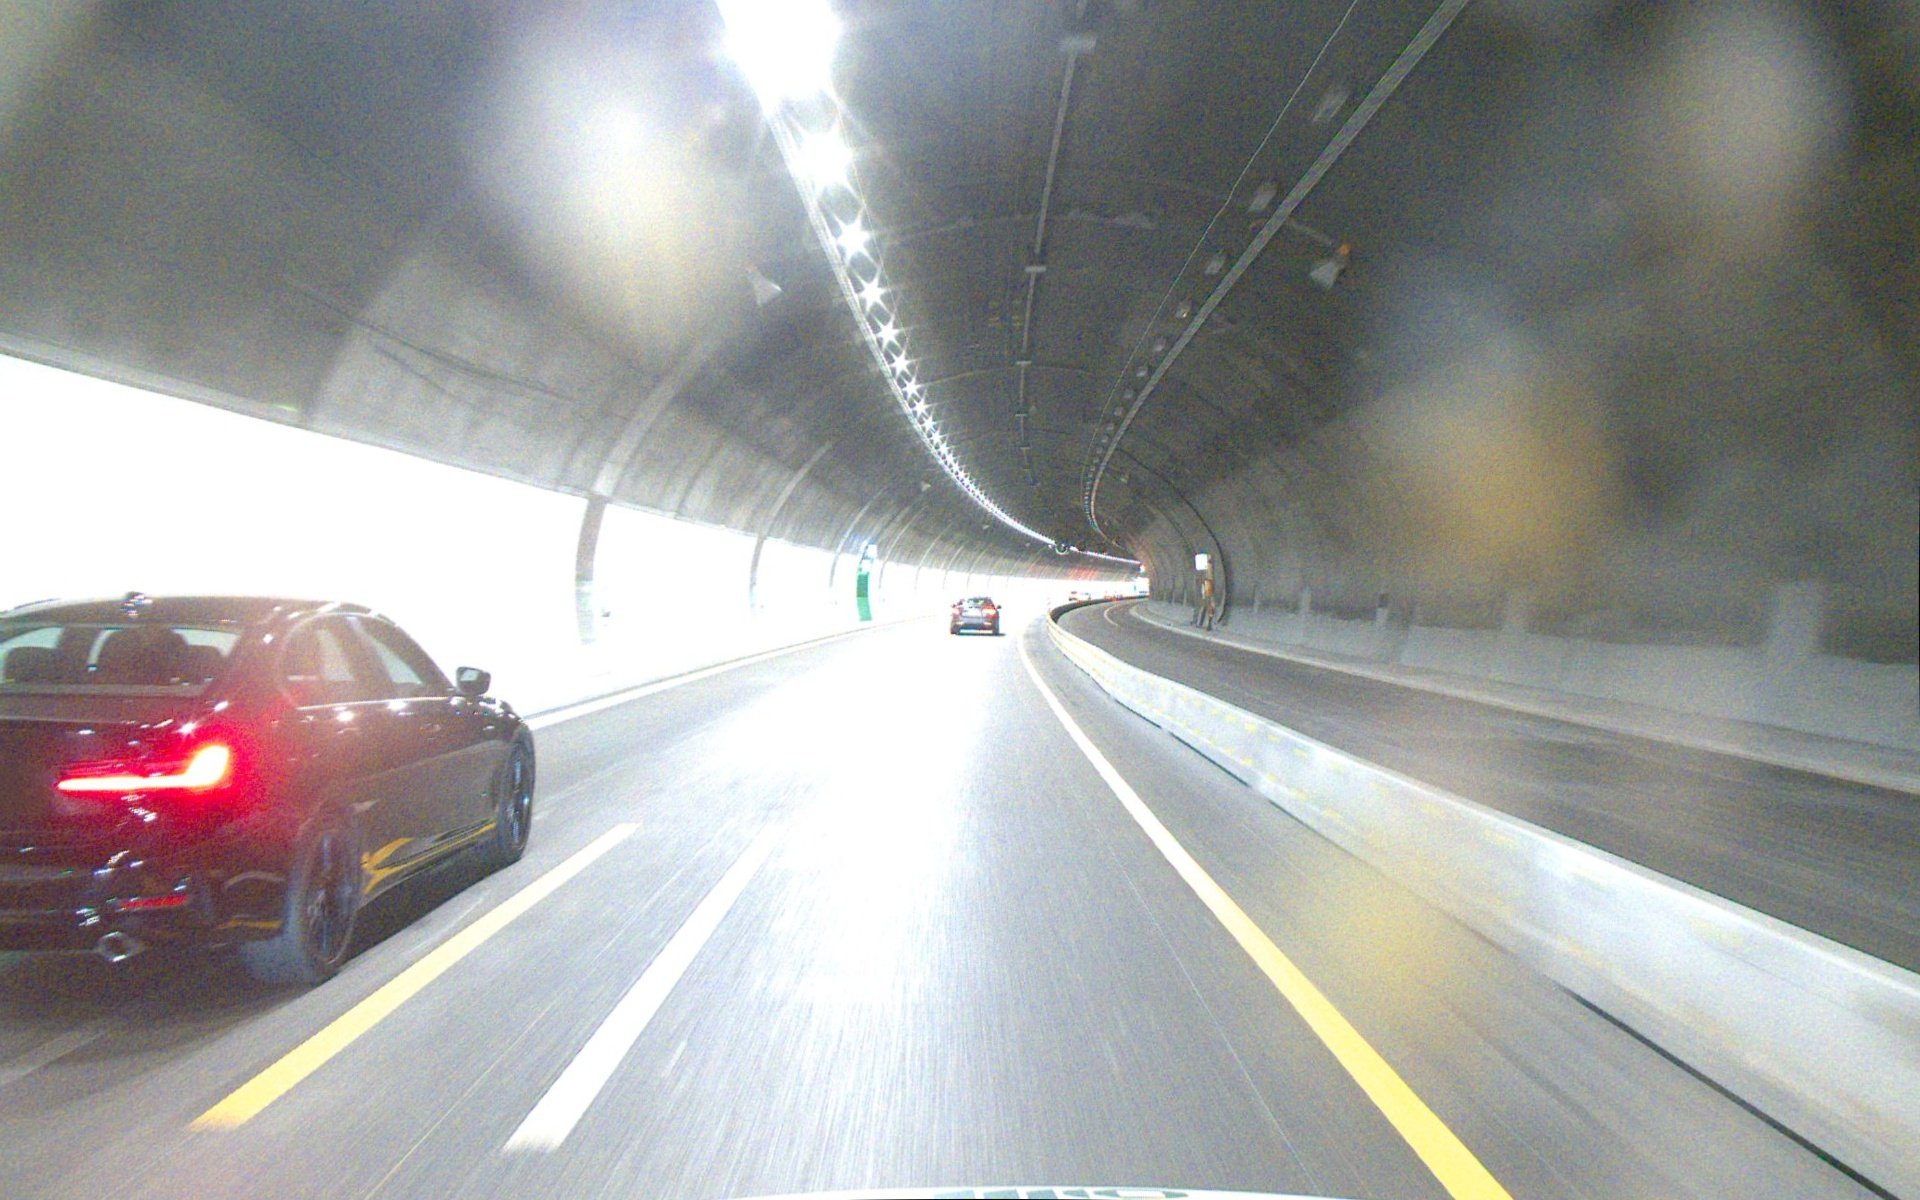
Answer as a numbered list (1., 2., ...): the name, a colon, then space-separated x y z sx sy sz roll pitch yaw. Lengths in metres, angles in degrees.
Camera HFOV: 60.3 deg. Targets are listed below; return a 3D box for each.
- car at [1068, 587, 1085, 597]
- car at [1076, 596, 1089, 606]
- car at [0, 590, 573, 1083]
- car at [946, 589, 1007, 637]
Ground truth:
1. car: 17.484 -1.173 247.407 2.118 1.512 4.004 0 0 10
2. car: 16.813 0.099 227.111 1.561 1.356 3.754 1 0 9
3. car: -3.201 0.704 7.447 1.741 1.463 4.883 1 0 0
4. car: 0.656 0.448 62.755 2.096 1.735 4.002 0 0 3
